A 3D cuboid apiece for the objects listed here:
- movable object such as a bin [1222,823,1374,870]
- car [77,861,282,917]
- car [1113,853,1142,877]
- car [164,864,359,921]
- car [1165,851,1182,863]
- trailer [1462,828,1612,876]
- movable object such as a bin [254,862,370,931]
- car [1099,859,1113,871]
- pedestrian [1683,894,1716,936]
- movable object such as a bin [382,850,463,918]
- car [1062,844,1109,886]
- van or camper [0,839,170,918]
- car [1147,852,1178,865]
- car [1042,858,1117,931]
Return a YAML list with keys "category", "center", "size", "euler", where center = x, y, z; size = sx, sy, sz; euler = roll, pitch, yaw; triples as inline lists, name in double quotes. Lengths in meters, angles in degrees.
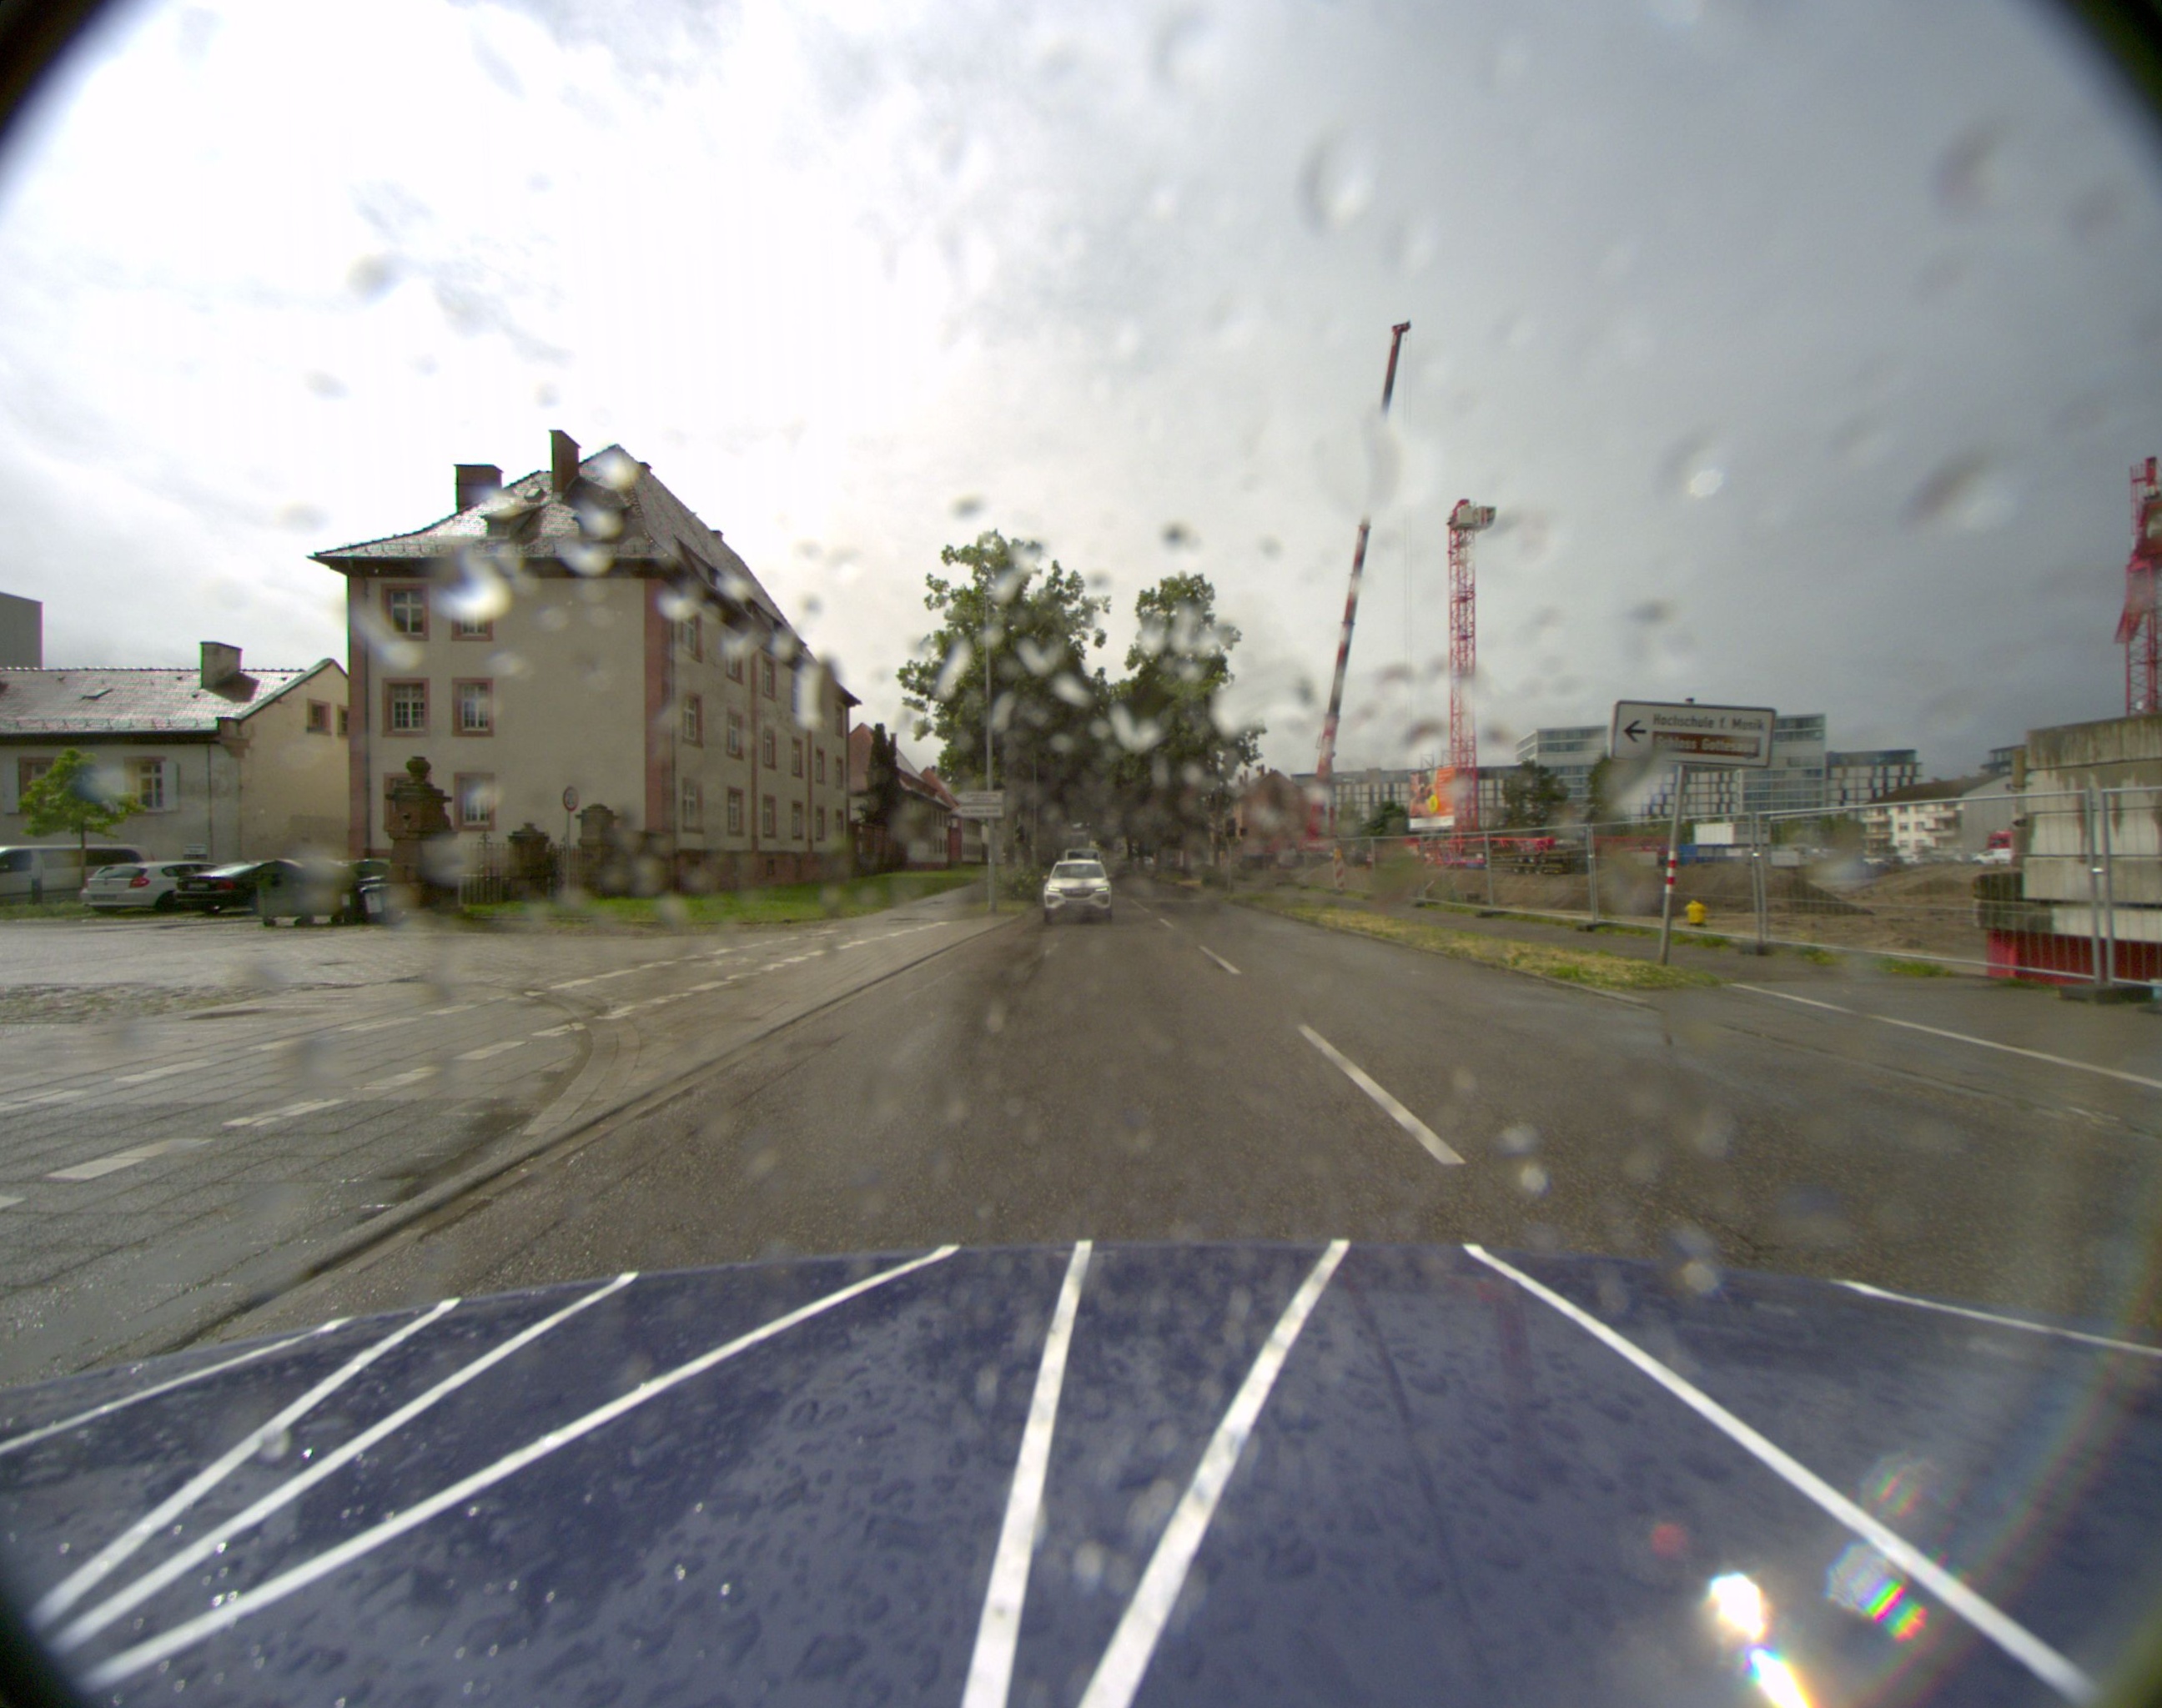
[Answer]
- category: "movable object such as a bin"
  center: [24.088, -0.813, 85.054]
  size: [15.943, 4.532, 3.101]
  euler: [-2, 1, 2]
- category: "car"
  center: [-25.693, 0.945, 21.849]
  size: [1.598, 1.438, 3.574]
  euler: [1, 0, 1]
- category: "car"
  center: [3.277, 0.759, 54.615]
  size: [1.845, 1.598, 4.000]
  euler: [-1, 0, 1]
- category: "car"
  center: [-22.933, 1.017, 21.465]
  size: [1.598, 1.438, 3.574]
  euler: [1, 0, 1]
- category: "car"
  center: [12.635, 0.447, 103.937]
  size: [1.693, 1.521, 3.998]
  euler: [-2, 1, -3]
- category: "trailer"
  center: [35.766, -0.211, 60.795]
  size: [2.968, 3.214, 14.306]
  euler: [-4, 1, -1]
- category: "movable object such as a bin"
  center: [-16.938, 0.905, 16.786]
  size: [1.109, 1.448, 1.390]
  euler: [1, 0, 1]
- category: "car"
  center: [3.358, 1.508, 104.366]
  size: [1.818, 1.531, 3.982]
  euler: [2, 0, 1]
- category: "pedestrian"
  center: [25.666, 2.515, 31.536]
  size: [0.588, 1.675, 0.849]
  euler: [2, 1, 4]
- category: "movable object such as a bin"
  center: [-14.595, 0.638, 16.871]
  size: [0.801, 1.448, 1.097]
  euler: [1, 0, 1]
- category: "car"
  center: [0.167, 0.495, 40.094]
  size: [2.108, 1.990, 5.432]
  euler: [-2, 1, -3]
- category: "van or camper"
  center: [-29.692, 0.679, 21.370]
  size: [1.793, 2.104, 5.186]
  euler: [-2, 0, 1]
- category: "car"
  center: [10.647, 0.549, 98.835]
  size: [3.867, 1.543, 1.698]
  euler: [-2, 1, 8]
- category: "car"
  center: [-0.051, 0.912, 18.837]
  size: [1.608, 1.499, 3.999]
  euler: [-2, 1, -1]
